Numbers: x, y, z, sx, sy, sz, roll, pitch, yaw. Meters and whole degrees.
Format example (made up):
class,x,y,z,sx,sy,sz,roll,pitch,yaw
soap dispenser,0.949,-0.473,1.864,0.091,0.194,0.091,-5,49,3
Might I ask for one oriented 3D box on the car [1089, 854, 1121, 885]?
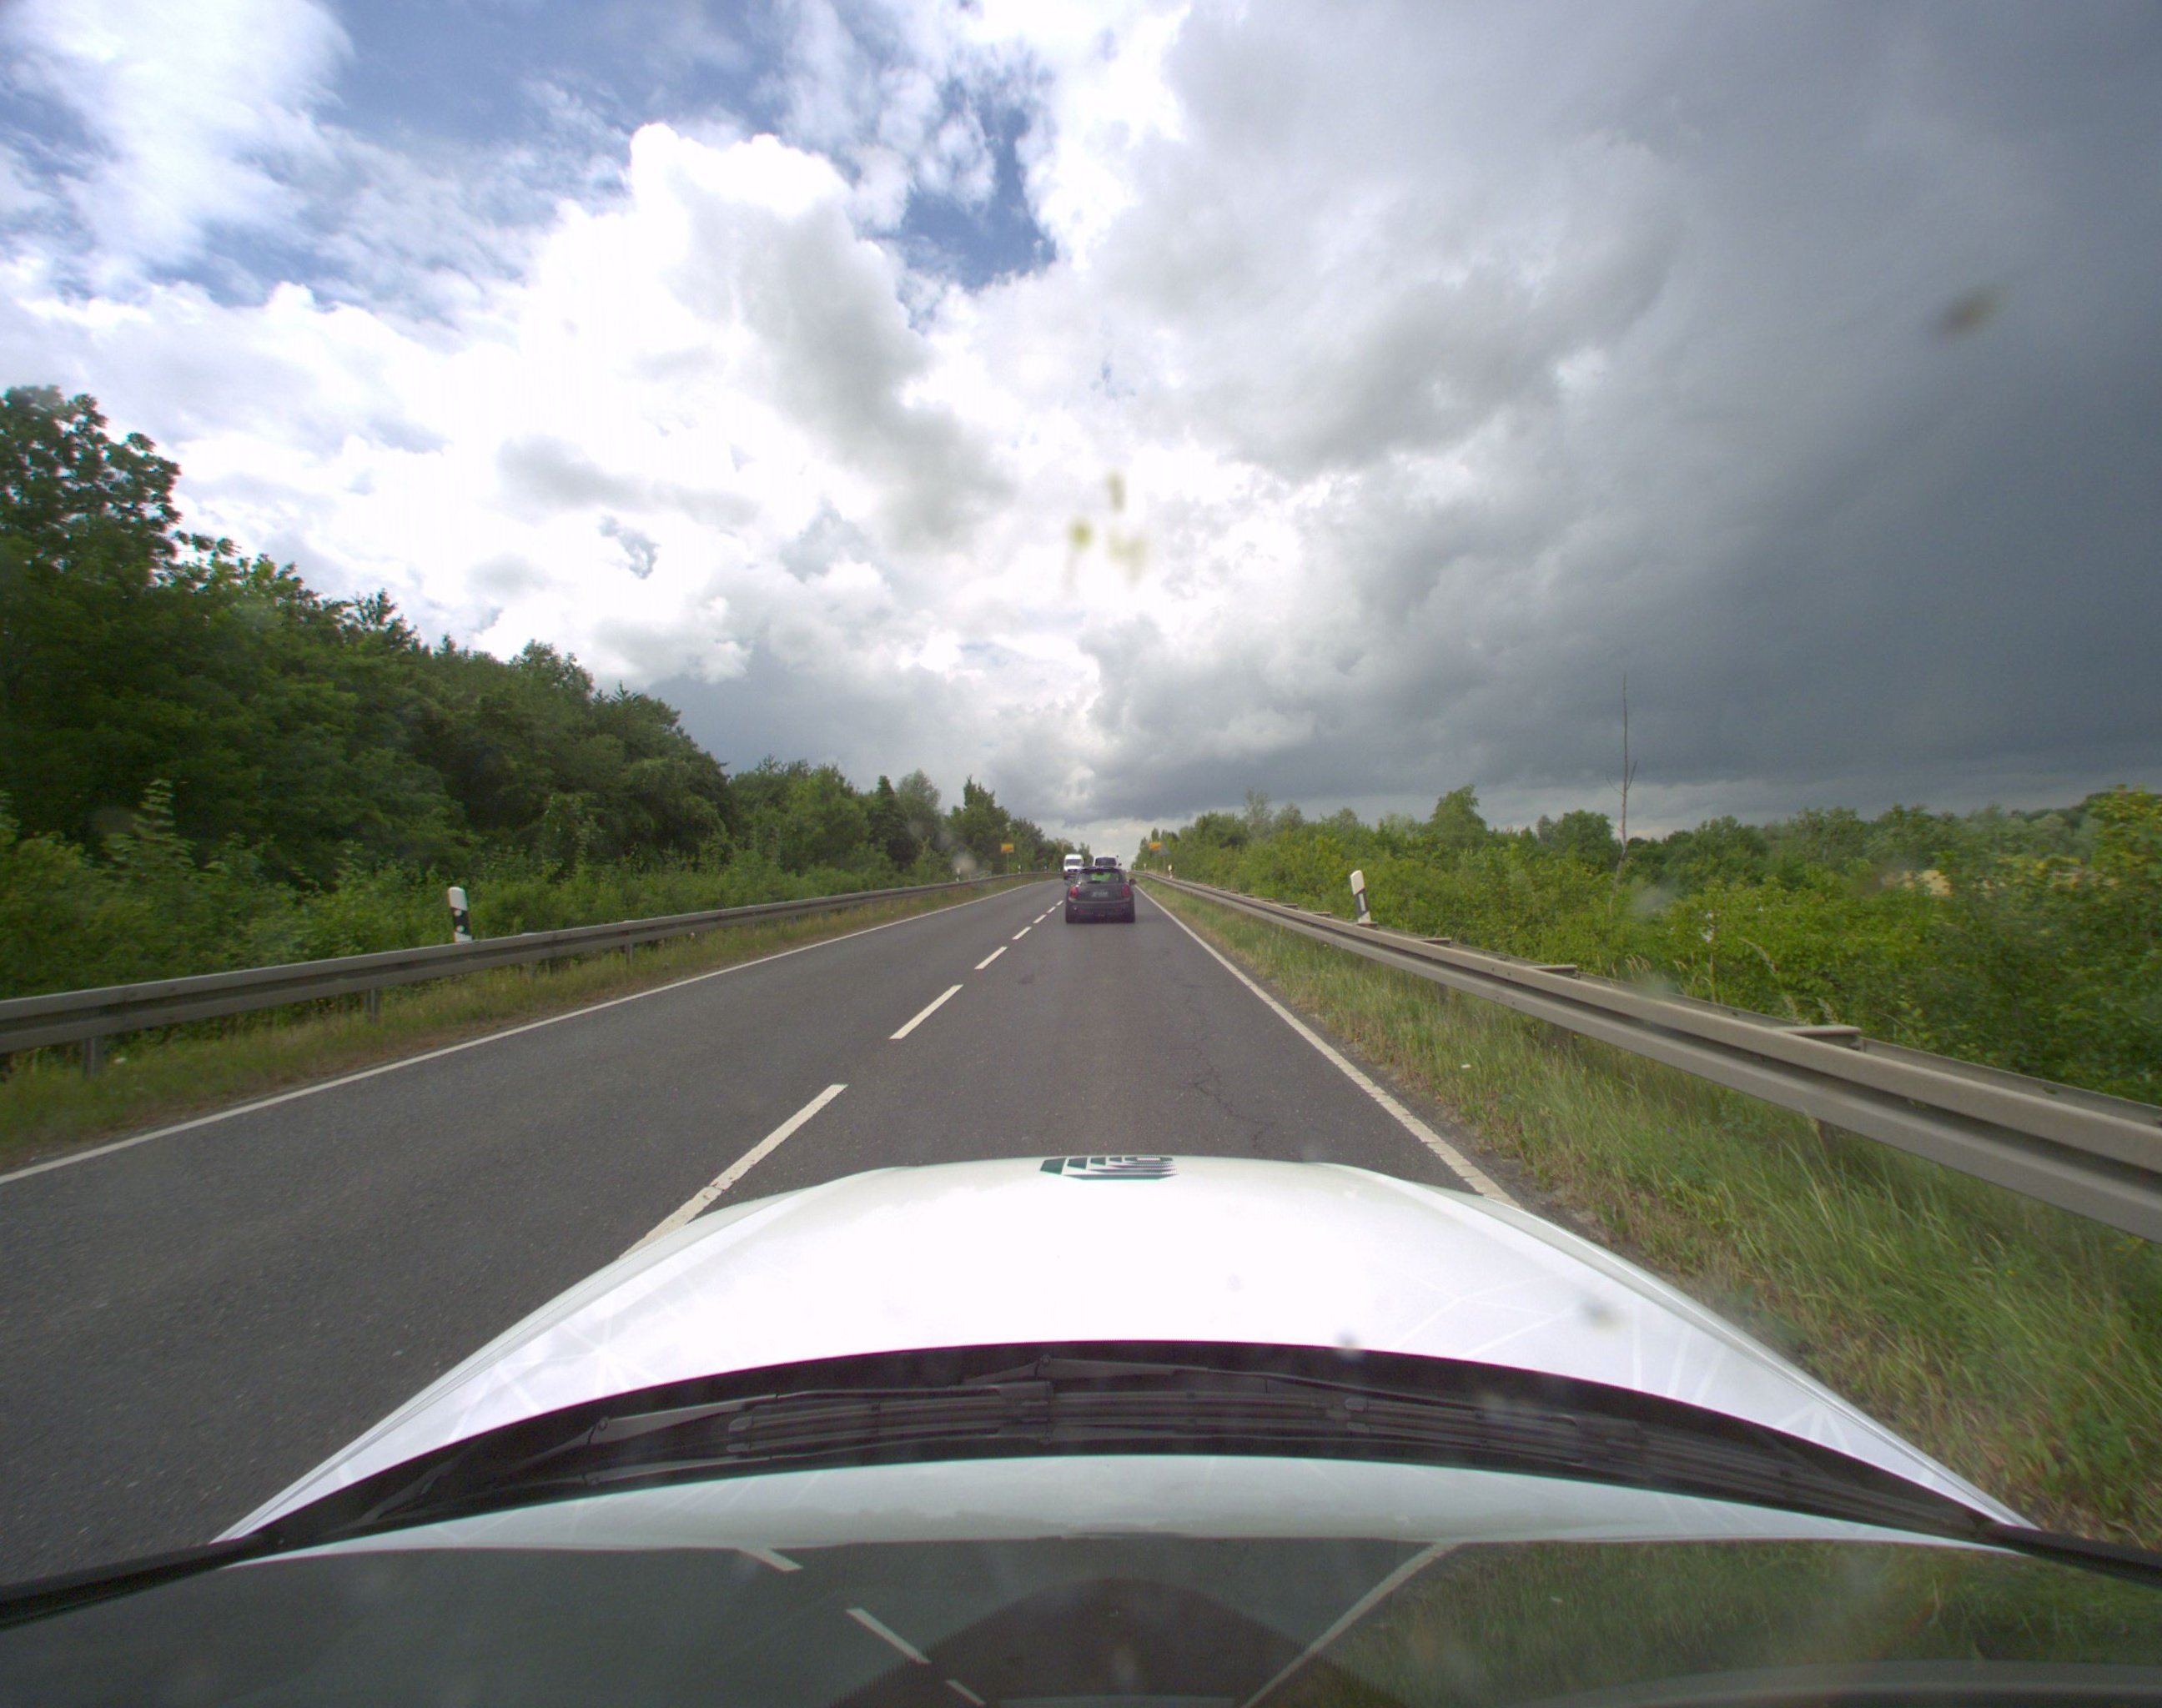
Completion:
class,x,y,z,sx,sy,sz,roll,pitch,yaw
car,1.610,1.053,55.458,2.015,2.013,4.000,-1,-1,1

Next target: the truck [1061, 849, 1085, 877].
class,x,y,z,sx,sy,sz,roll,pitch,yaw
truck,-0.775,0.898,85.553,2.057,2.742,7.011,-2,0,2

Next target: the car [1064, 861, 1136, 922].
class,x,y,z,sx,sy,sz,roll,pitch,yaw
car,0.483,0.932,21.713,1.726,1.456,4.000,-1,-1,1
